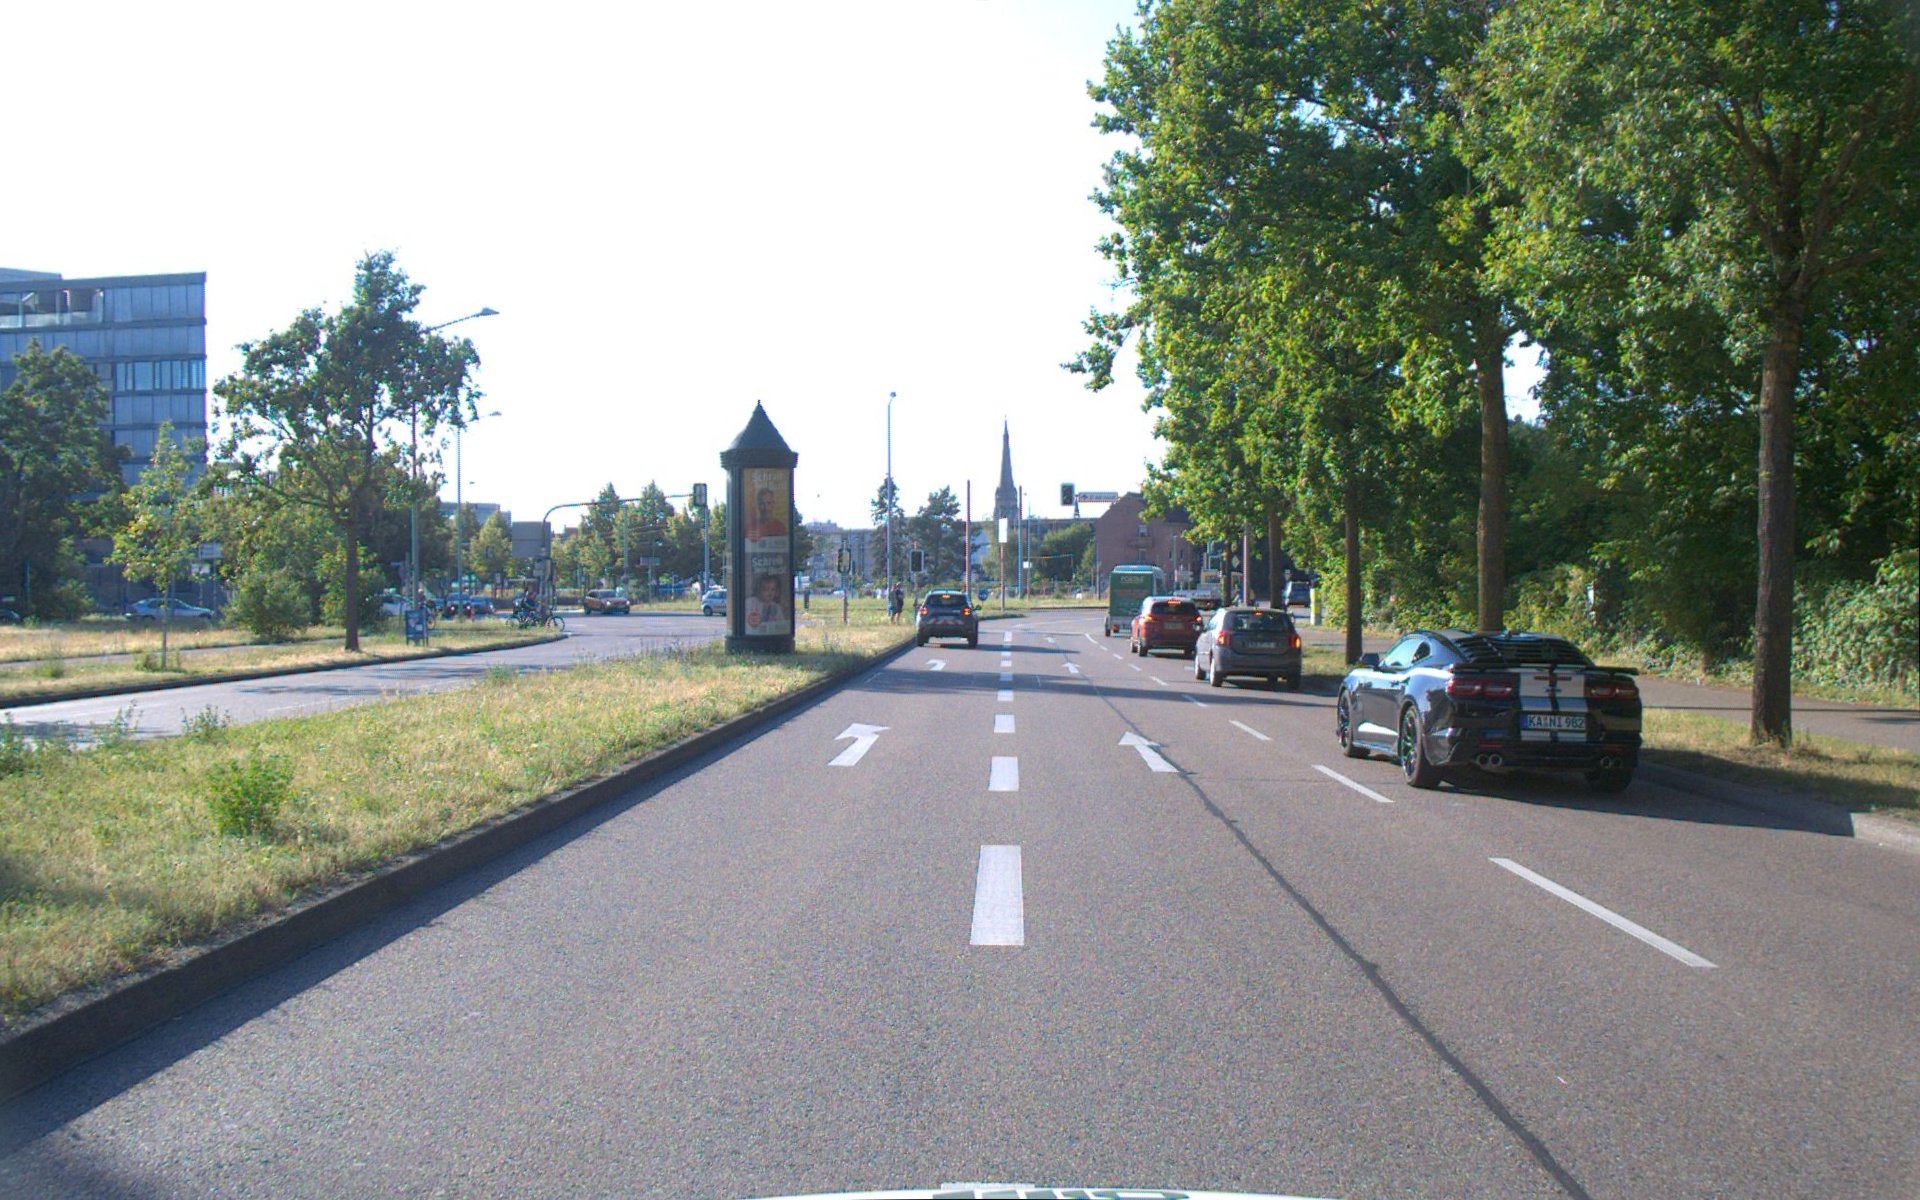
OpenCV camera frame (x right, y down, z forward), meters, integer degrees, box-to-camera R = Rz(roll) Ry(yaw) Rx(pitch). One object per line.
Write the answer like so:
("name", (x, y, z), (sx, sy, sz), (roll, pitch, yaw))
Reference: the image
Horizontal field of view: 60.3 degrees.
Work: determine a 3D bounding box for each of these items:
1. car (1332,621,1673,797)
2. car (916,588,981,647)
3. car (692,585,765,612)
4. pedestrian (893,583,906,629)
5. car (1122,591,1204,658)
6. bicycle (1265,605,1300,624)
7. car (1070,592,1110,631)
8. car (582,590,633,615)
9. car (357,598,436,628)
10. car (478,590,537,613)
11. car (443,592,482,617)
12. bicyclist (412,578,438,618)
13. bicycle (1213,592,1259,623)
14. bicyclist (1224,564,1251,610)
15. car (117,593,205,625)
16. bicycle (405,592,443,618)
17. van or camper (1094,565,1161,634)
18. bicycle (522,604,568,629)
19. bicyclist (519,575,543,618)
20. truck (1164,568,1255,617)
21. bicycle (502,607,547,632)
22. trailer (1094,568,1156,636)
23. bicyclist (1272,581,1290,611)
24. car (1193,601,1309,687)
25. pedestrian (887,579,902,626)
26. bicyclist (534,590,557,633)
("car", (4.816, 0.888, 15.419), (1.816, 1.361, 4.626), (0, -1, 2))
("car", (-0.396, 0.498, 50.199), (1.867, 1.689, 3.998), (0, 0, -2))
("car", (-12.929, -0.091, 92.419), (3.675, 1.459, 1.833), (0, 1, 28))
("pedestrian", (-2.515, 0.240, 68.661), (0.475, 1.876, 0.672), (0, 0, 5))
("car", (5.601, 0.642, 46.059), (1.712, 1.649, 3.820), (2, 1, -1))
("bicycle", (14.141, 0.623, 72.537), (1.435, 0.800, 0.438), (-1, 0, -16))
("car", (5.696, 0.482, 72.832), (1.568, 1.638, 4.001), (0, 1, 2))
("car", (-21.537, 0.120, 100.904), (1.883, 1.470, 4.098), (-1, 1, -30))
("car", (-30.708, 0.714, 90.111), (3.914, 1.534, 1.833), (-1, 1, -26))
("car", (-30.039, 0.092, 109.828), (4.069, 1.400, 1.665), (-1, 1, 39))
("car", (-30.826, 0.269, 102.554), (1.635, 1.467, 3.612), (-2, 1, -5))
("bicyclist", (-23.135, -0.087, 71.540), (0.815, 1.695, 0.707), (0, 0, 40))
("bicycle", (11.906, 0.330, 71.398), (1.873, 1.266, 0.606), (-2, 0, 38))
("bicyclist", (11.966, -0.549, 71.335), (0.921, 1.932, 0.598), (-2, 0, 38))
("car", (-40.298, 0.441, 83.472), (3.676, 1.534, 1.847), (-1, 1, -41))
("bicycle", (-23.200, 0.222, 71.580), (1.789, 1.138, 0.722), (0, 0, 40))
("van or camper", (6.970, -0.063, 68.138), (2.236, 2.675, 6.589), (1, 1, 10))
("bicycle", (-17.966, 0.725, 71.637), (1.867, 1.037, 0.505), (1, 0, 9))
("bicyclist", (-18.227, -0.157, 70.276), (0.796, 1.801, 0.496), (1, 0, 17))
("truck", (13.599, -0.444, 89.840), (2.535, 2.602, 6.234), (0, 1, 33))
("bicycle", (-18.530, 0.834, 70.362), (1.868, 1.037, 0.505), (1, 0, 17))
("trailer", (6.172, 0.067, 62.067), (2.046, 2.442, 3.502), (1, 0, 2))
("bicyclist", (14.046, -0.177, 72.444), (0.638, 1.317, 0.464), (-1, 1, -16))
("car", (5.557, 0.808, 31.988), (1.711, 1.499, 3.821), (-1, 1, 2))
("pedestrian", (-2.680, 0.103, 67.782), (0.475, 1.876, 0.720), (-1, 0, 5))
("bicyclist", (-17.961, 0.491, 71.639), (0.795, 1.820, 0.497), (1, 0, 10))
